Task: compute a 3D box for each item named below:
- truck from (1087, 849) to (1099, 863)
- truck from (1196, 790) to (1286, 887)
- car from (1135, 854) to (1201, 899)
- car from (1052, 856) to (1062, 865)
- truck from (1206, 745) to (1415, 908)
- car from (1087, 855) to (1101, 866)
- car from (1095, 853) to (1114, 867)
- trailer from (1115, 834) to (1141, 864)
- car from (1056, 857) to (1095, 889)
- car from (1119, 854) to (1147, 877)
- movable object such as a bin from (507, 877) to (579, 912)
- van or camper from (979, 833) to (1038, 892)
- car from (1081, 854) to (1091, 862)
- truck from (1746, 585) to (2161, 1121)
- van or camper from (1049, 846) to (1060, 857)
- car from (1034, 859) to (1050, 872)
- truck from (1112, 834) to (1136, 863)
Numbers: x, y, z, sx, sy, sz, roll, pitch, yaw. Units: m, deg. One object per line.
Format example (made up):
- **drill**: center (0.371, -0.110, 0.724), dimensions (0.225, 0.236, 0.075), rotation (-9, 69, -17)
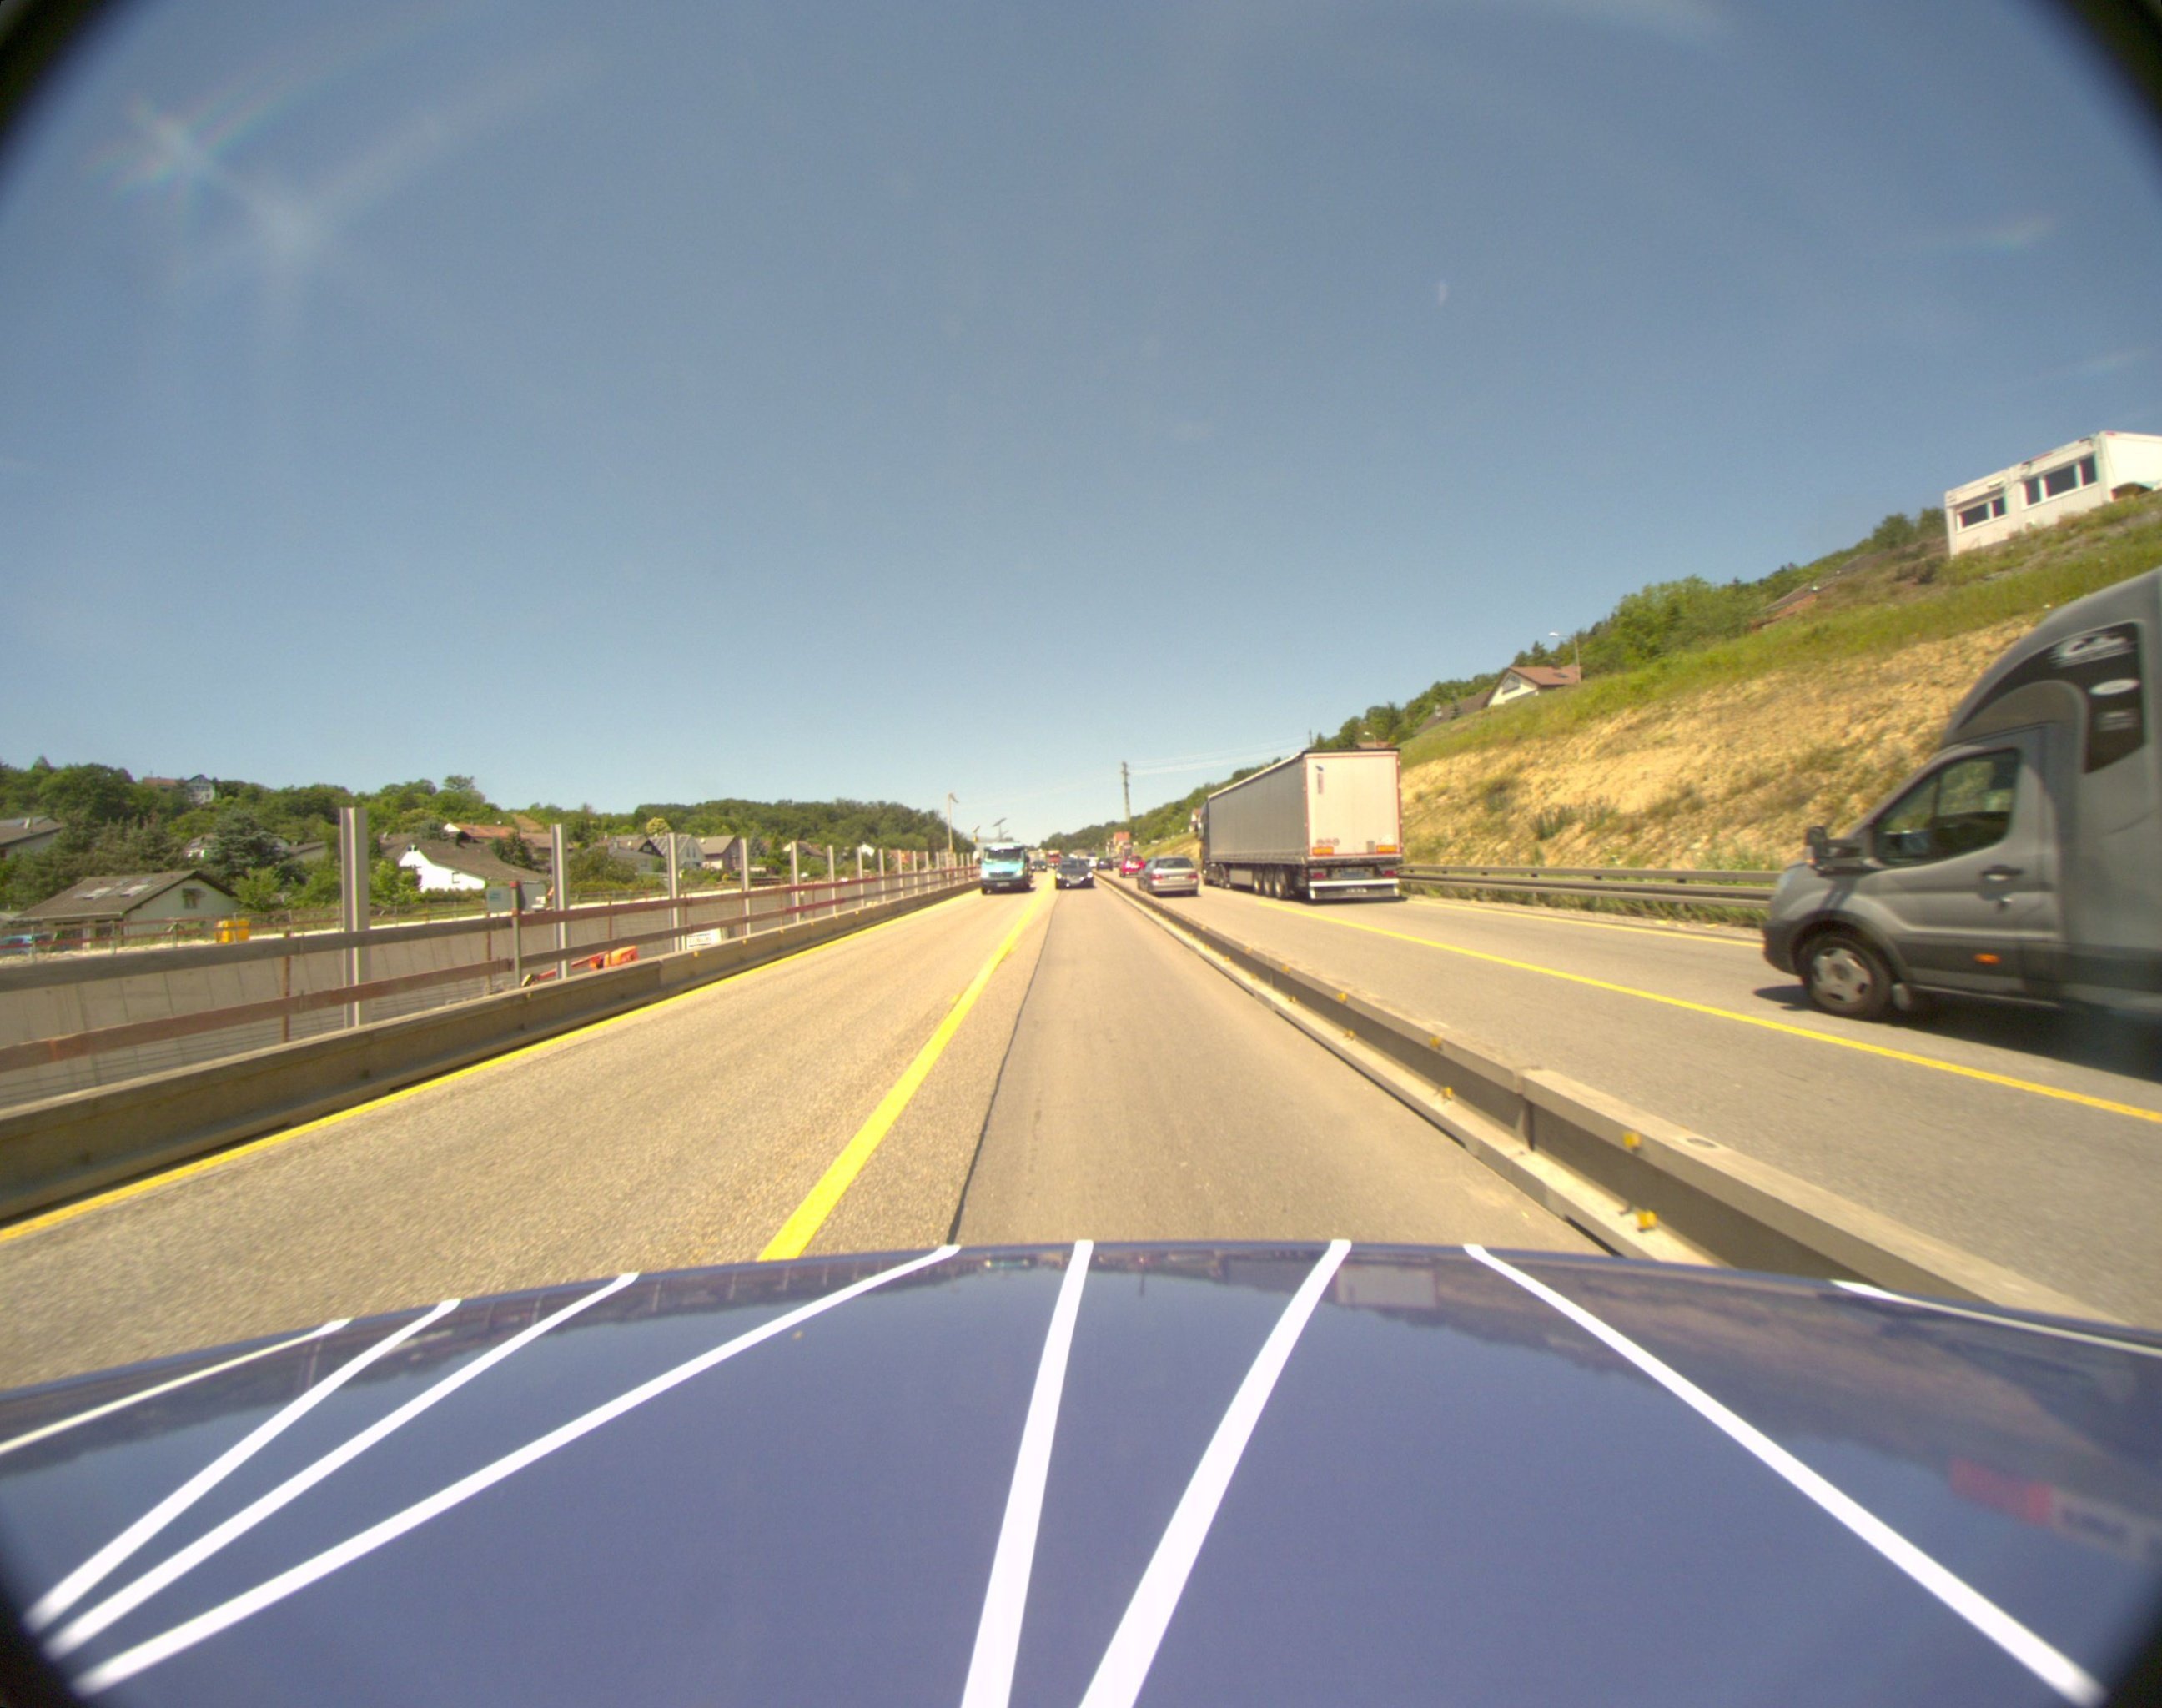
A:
- **truck**: center (3.746, 0.580, 244.041), dimensions (3.252, 4.135, 13.976), rotation (-2, 0, -1)
- **truck**: center (6.970, -0.643, 33.809), dimensions (2.774, 3.862, 4.963), rotation (-3, 0, -1)
- **car**: center (3.082, 0.752, 27.796), dimensions (1.831, 1.478, 4.195), rotation (-2, 0, -1)
- **car**: center (-5.160, 1.401, 162.739), dimensions (1.896, 1.698, 4.561), rotation (-2, 0, 0)
- **truck**: center (7.059, -0.719, 26.508), dimensions (2.774, 4.064, 13.804), rotation (-3, 0, -1)
- **car**: center (1.809, 0.924, 106.949), dimensions (1.689, 1.421, 4.121), rotation (-2, 0, -2)
- **car**: center (2.407, 0.617, 79.006), dimensions (1.689, 1.421, 3.849), rotation (-2, 0, -2)
- **trailer**: center (5.993, -0.669, 98.253), dimensions (2.594, 3.616, 9.077), rotation (-2, 0, -1)
- **car**: center (-0.271, 0.889, 37.059), dimensions (1.747, 1.420, 4.000), rotation (-2, -1, -1)
- **car**: center (3.482, 0.777, 51.750), dimensions (1.594, 1.478, 3.294), rotation (-2, 0, -1)
- **movable object such as a bin**: center (-38.049, 2.834, 53.867), dimensions (1.998, 2.226, 4.151), rotation (-3, 0, 0)
- **van or camper**: center (-3.348, 0.429, 36.556), dimensions (2.098, 2.458, 7.671), rotation (-2, -1, -1)
- **car**: center (1.040, 0.806, 157.896), dimensions (1.896, 1.698, 4.561), rotation (-2, 0, 0)
- **truck**: center (6.916, -0.036, 3.618), dimensions (2.274, 2.865, 5.850), rotation (-2, 0, -1)
- **van or camper**: center (-6.475, -0.514, 187.343), dimensions (2.321, 2.513, 4.527), rotation (-4, 0, -1)
- **car**: center (-4.500, 1.323, 87.405), dimensions (1.611, 1.324, 3.496), rotation (-3, -1, -1)
- **truck**: center (5.877, -0.706, 105.919), dimensions (2.594, 3.701, 9.331), rotation (-2, 0, -1)
